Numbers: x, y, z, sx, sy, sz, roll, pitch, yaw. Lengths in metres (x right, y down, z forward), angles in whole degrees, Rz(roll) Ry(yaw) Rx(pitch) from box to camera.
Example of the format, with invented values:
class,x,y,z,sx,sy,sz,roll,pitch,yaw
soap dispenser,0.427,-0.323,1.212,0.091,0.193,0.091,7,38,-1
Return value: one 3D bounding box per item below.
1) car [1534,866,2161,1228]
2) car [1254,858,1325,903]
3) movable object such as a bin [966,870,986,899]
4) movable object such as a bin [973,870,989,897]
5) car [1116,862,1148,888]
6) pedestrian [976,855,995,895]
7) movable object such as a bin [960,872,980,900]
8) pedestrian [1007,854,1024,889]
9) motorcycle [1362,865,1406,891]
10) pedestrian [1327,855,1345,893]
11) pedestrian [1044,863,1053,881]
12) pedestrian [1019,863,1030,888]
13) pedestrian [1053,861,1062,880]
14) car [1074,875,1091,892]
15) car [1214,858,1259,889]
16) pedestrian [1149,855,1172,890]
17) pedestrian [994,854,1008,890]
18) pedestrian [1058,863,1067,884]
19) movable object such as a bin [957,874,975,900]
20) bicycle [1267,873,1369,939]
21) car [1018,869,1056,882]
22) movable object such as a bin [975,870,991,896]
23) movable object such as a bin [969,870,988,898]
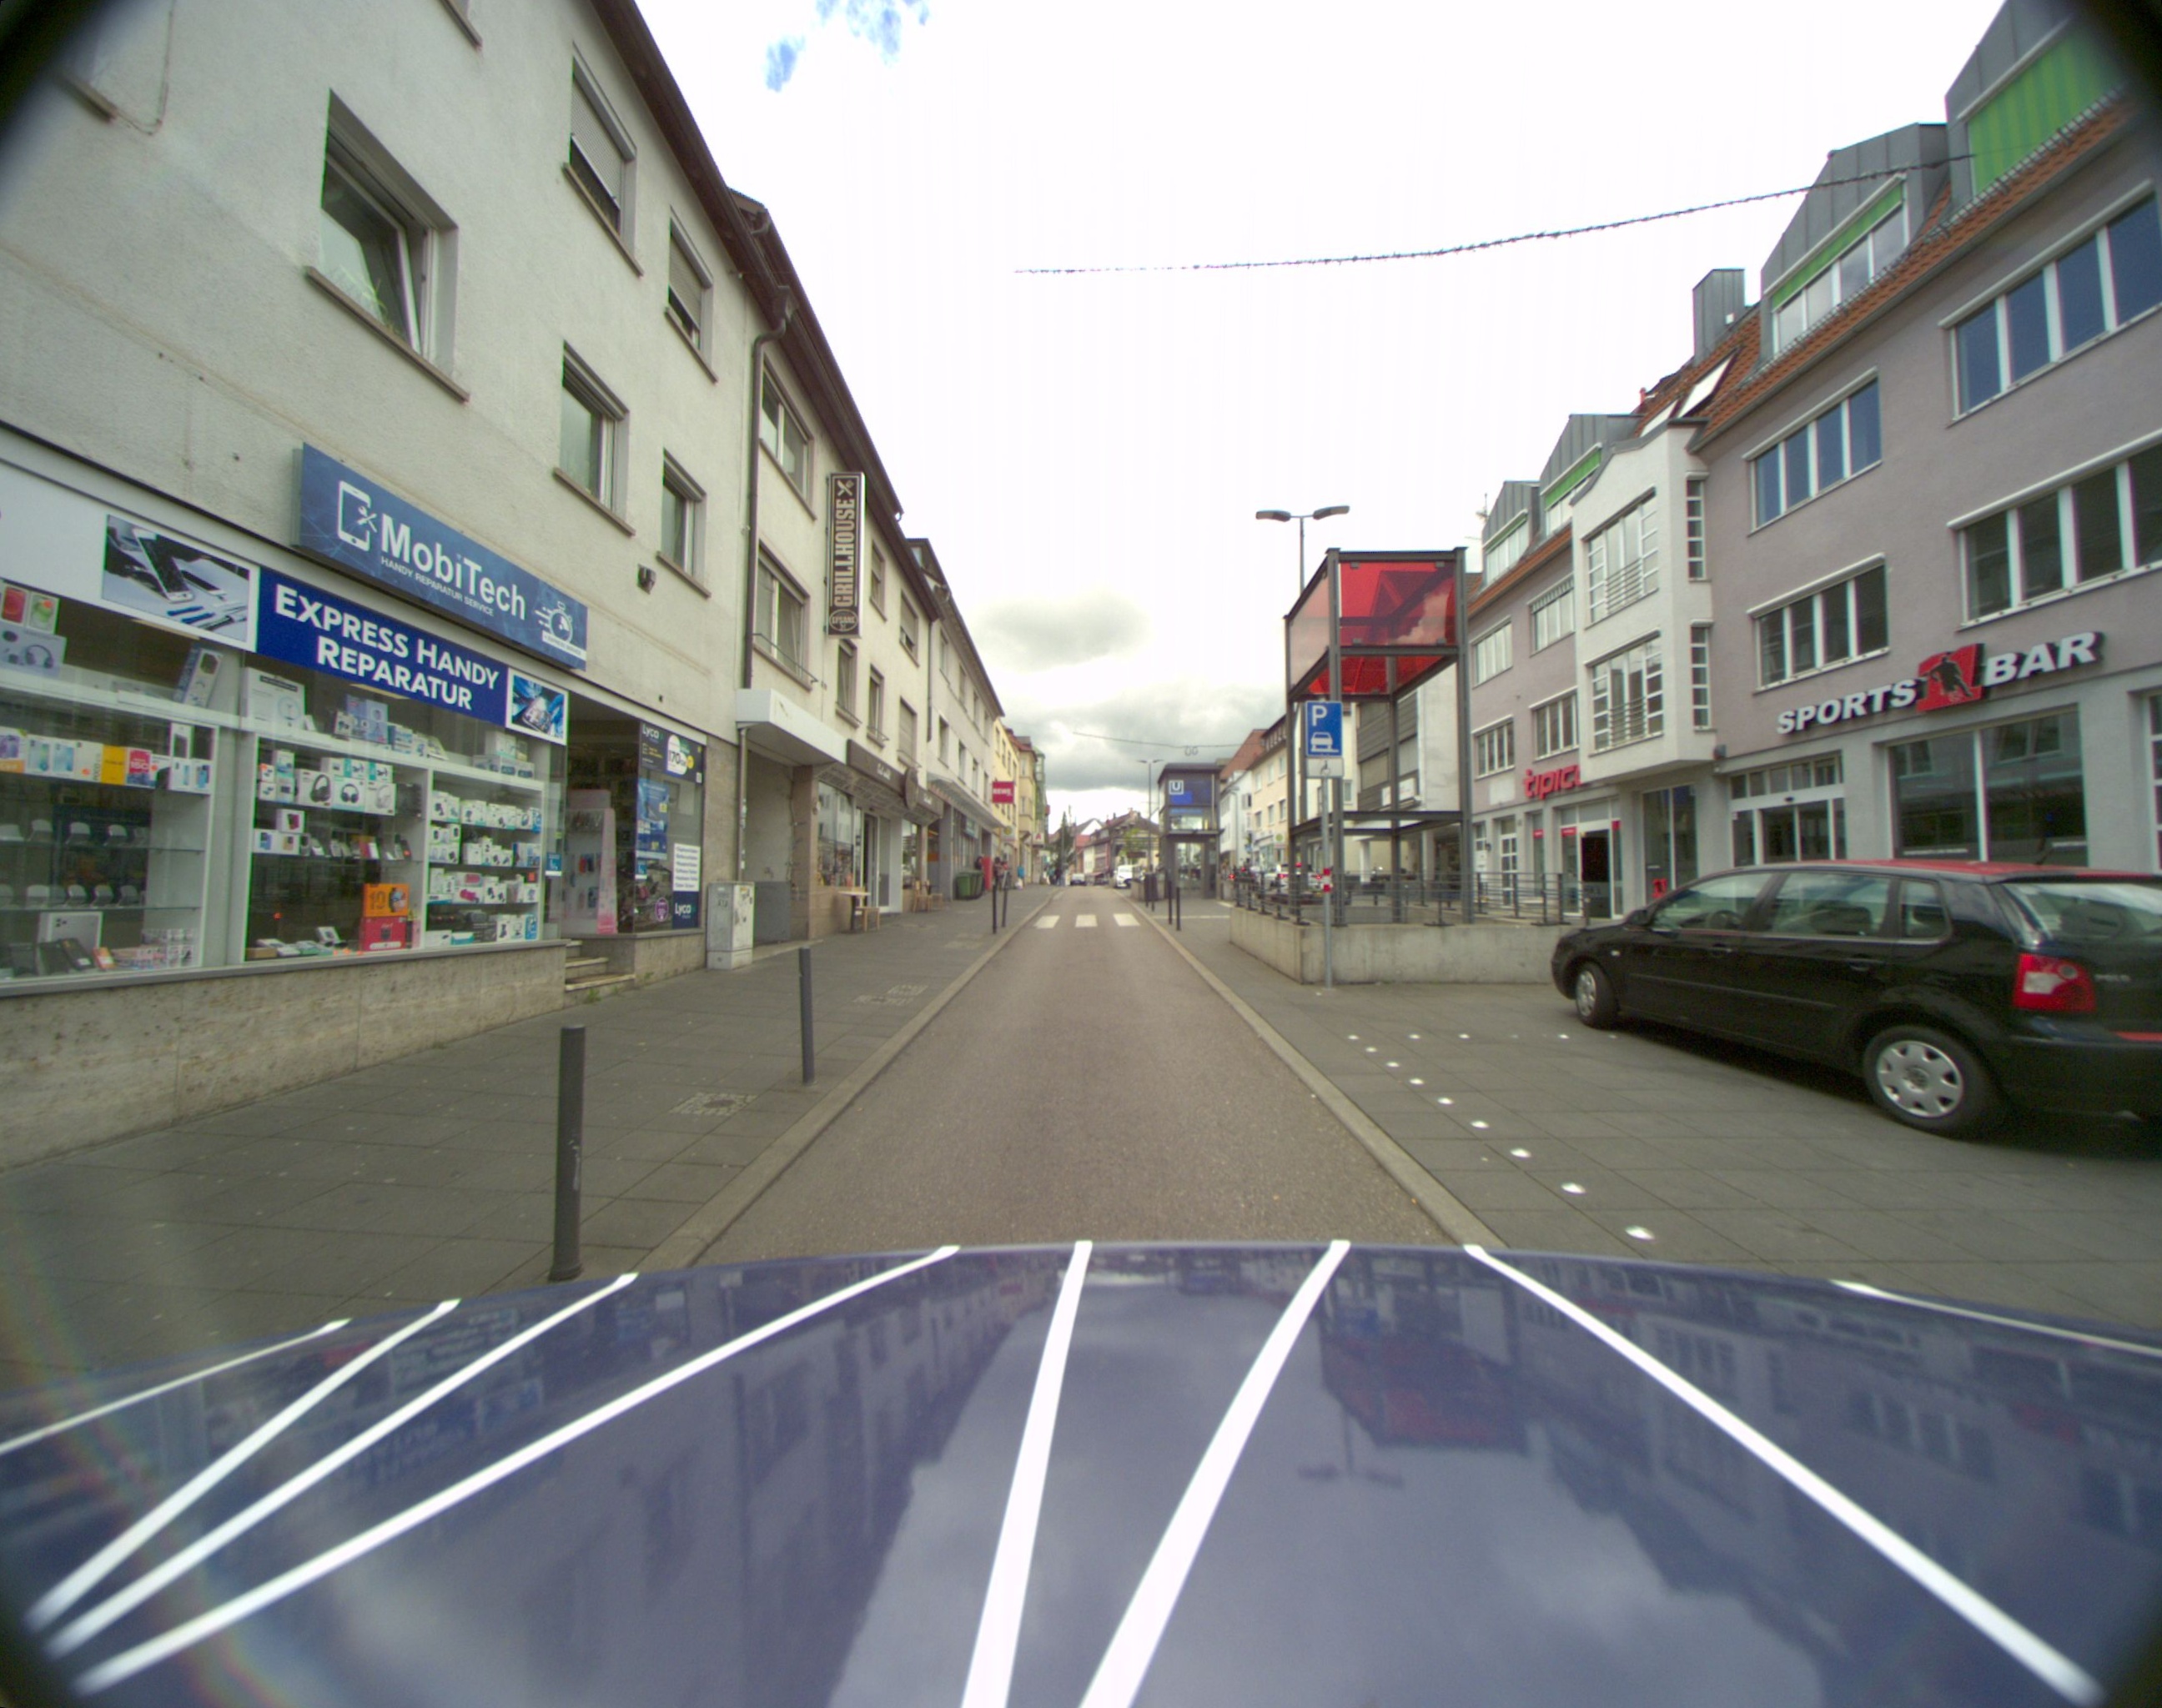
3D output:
class,x,y,z,sx,sy,sz,roll,pitch,yaw
car,5.117,0.869,5.189,1.573,1.466,3.854,1,0,-3
car,8.192,1.002,30.234,1.683,1.562,4.122,-2,0,0
movable object such as a bin,-3.997,1.169,29.039,0.652,1.074,0.673,0,0,1
movable object such as a bin,-4.011,1.177,30.423,0.569,1.053,0.574,0,0,1
car,3.150,1.293,47.435,1.754,1.452,3.601,-2,0,1
pedestrian,-4.120,0.896,32.768,0.628,1.716,0.606,-2,1,-22
movable object such as a bin,-4.135,1.203,28.382,0.670,1.024,0.560,0,0,1
pedestrian,-3.488,0.934,40.608,0.629,1.811,0.605,-3,1,-34
motorcycle,14.692,1.155,36.844,1.854,1.134,0.634,-2,1,0
pedestrian,11.650,0.913,34.721,0.592,1.706,0.513,-2,1,1
pedestrian,-2.900,1.581,67.377,0.657,1.620,0.743,-2,1,-6
pedestrian,-3.759,1.436,50.469,0.627,1.620,0.607,-2,1,-5
pedestrian,-2.074,1.432,67.268,0.657,1.620,0.743,-2,1,-6
car,0.190,3.094,80.172,1.741,1.608,3.843,-2,0,0
car,8.783,1.056,43.214,1.683,1.562,4.122,-2,0,0
pedestrian,4.378,1.003,41.920,1.097,1.831,0.931,-2,1,1
pedestrian,-3.879,0.861,36.803,0.627,1.716,0.607,2,1,-5
pedestrian,-1.504,1.575,61.804,0.657,1.620,0.743,-2,1,-1
movable object such as a bin,-4.192,1.197,27.770,0.568,0.951,0.498,0,0,1
bicycle,4.505,0.979,14.486,1.782,1.216,0.459,0,1,0
car,-5.734,2.771,98.832,4.627,1.570,1.777,-1,0,-11
movable object such as a bin,-3.992,1.175,31.007,0.560,1.050,0.559,0,0,1
movable object such as a bin,-4.009,1.161,29.779,0.652,1.074,0.659,0,0,1
